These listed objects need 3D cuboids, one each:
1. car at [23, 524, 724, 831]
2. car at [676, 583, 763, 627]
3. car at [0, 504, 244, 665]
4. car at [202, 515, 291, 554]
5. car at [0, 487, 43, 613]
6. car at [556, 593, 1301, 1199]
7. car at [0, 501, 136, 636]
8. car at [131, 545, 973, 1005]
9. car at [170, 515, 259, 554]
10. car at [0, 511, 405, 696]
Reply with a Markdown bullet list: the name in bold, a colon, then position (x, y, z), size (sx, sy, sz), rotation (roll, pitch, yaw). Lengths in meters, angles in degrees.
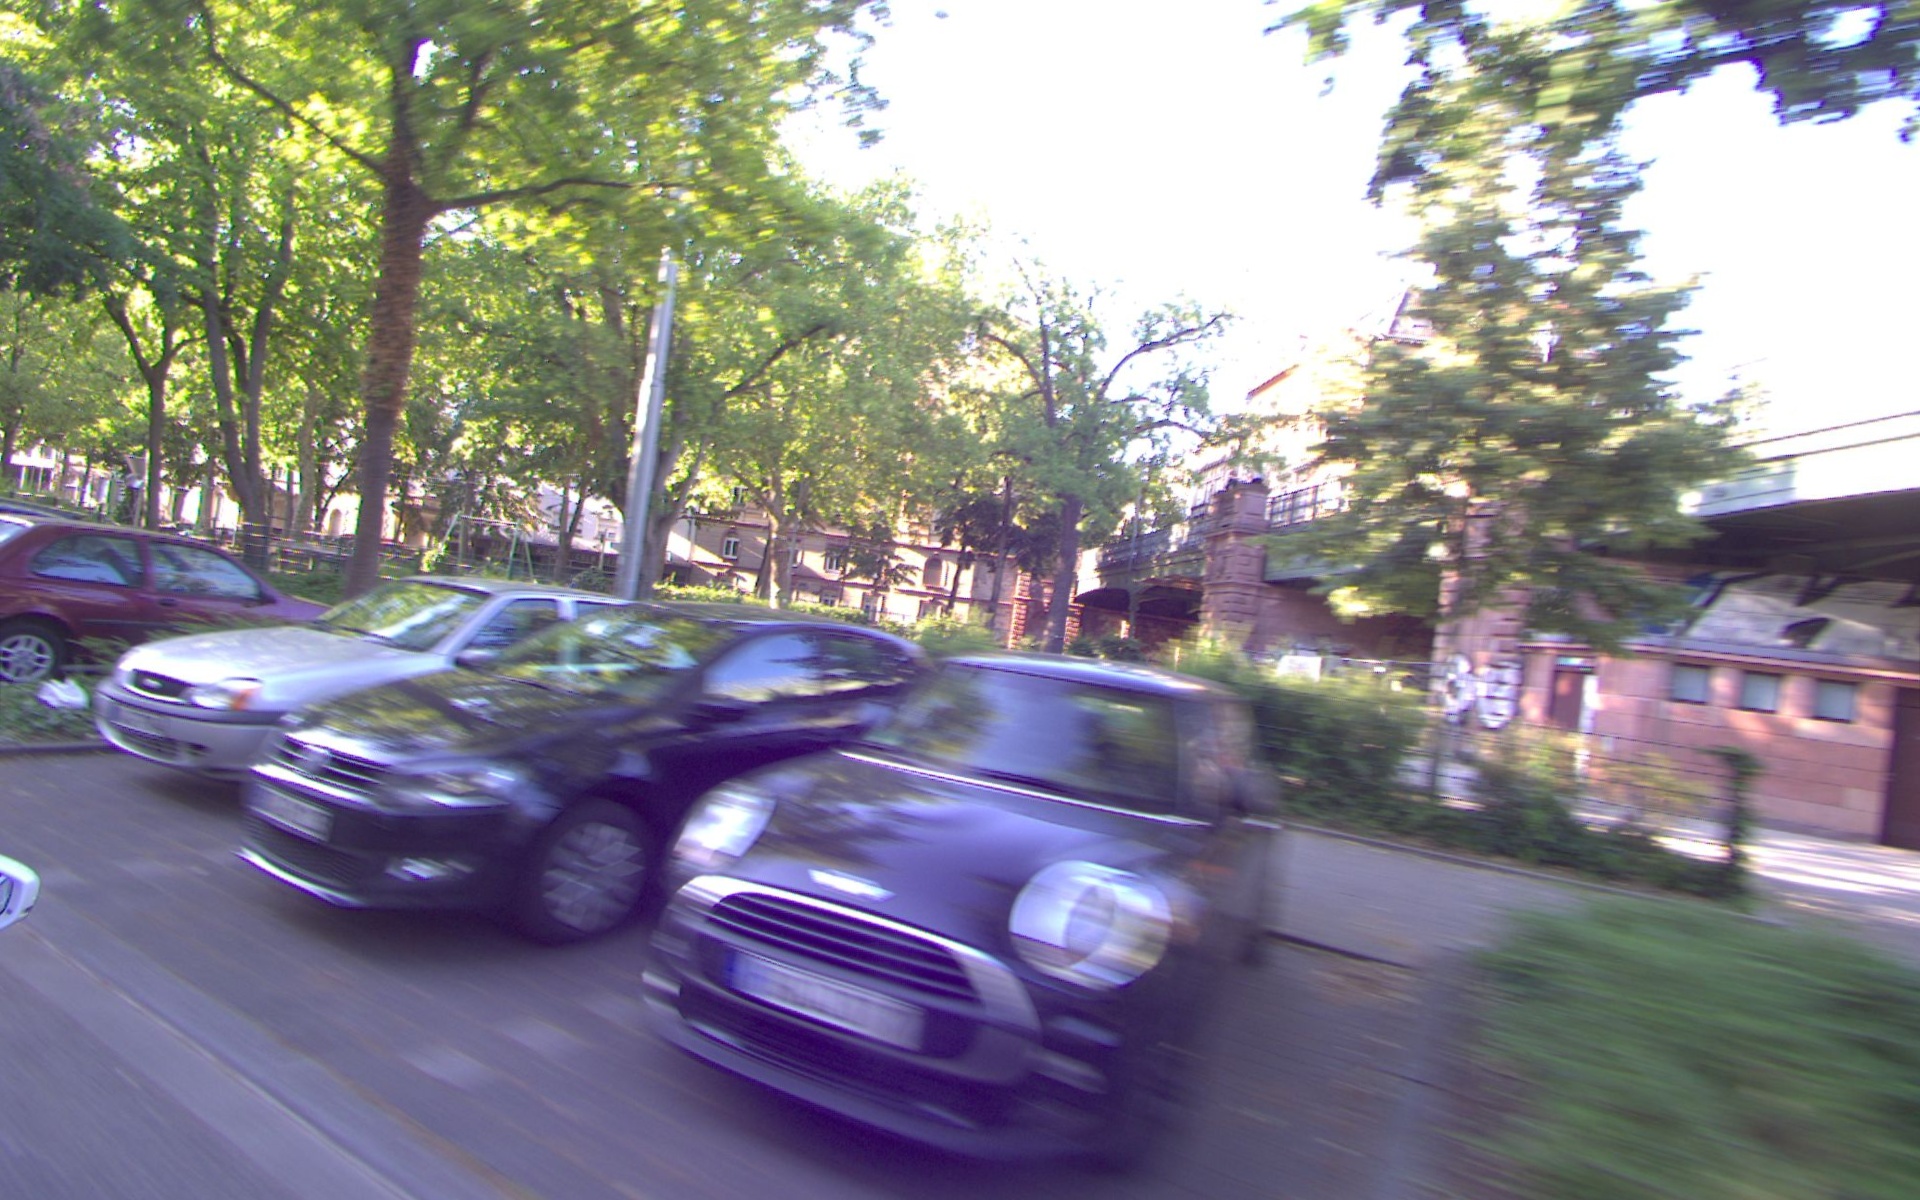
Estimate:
- **car**: position (-3.585, 0.503, 6.924), size (1.635, 1.417, 3.792), rotation (5, -2, 28)
- **car**: position (-14.956, 0.329, 62.725), size (4.648, 2.035, 2.004), rotation (7, -3, 8)
- **car**: position (-9.830, -0.232, 10.177), size (1.638, 1.463, 3.786), rotation (5, -2, 34)
- **car**: position (-44.927, -4.086, 63.417), size (1.966, 1.702, 4.000), rotation (5, -4, 28)
- **car**: position (-14.380, -0.875, 12.642), size (1.636, 1.665, 3.791), rotation (5, -2, 29)
- **car**: position (0.378, 0.940, 4.378), size (1.606, 1.489, 3.794), rotation (5, -2, 25)
- **car**: position (-12.129, -0.517, 11.489), size (1.637, 1.490, 3.789), rotation (5, -2, 31)
- **car**: position (-1.677, 0.711, 5.385), size (1.796, 1.417, 3.790), rotation (5, -2, 29)
- **car**: position (-47.677, -4.164, 64.388), size (1.966, 1.702, 4.000), rotation (5, -4, 28)
- **car**: position (-7.551, 0.073, 9.363), size (1.735, 1.417, 3.794), rotation (5, -2, 25)
